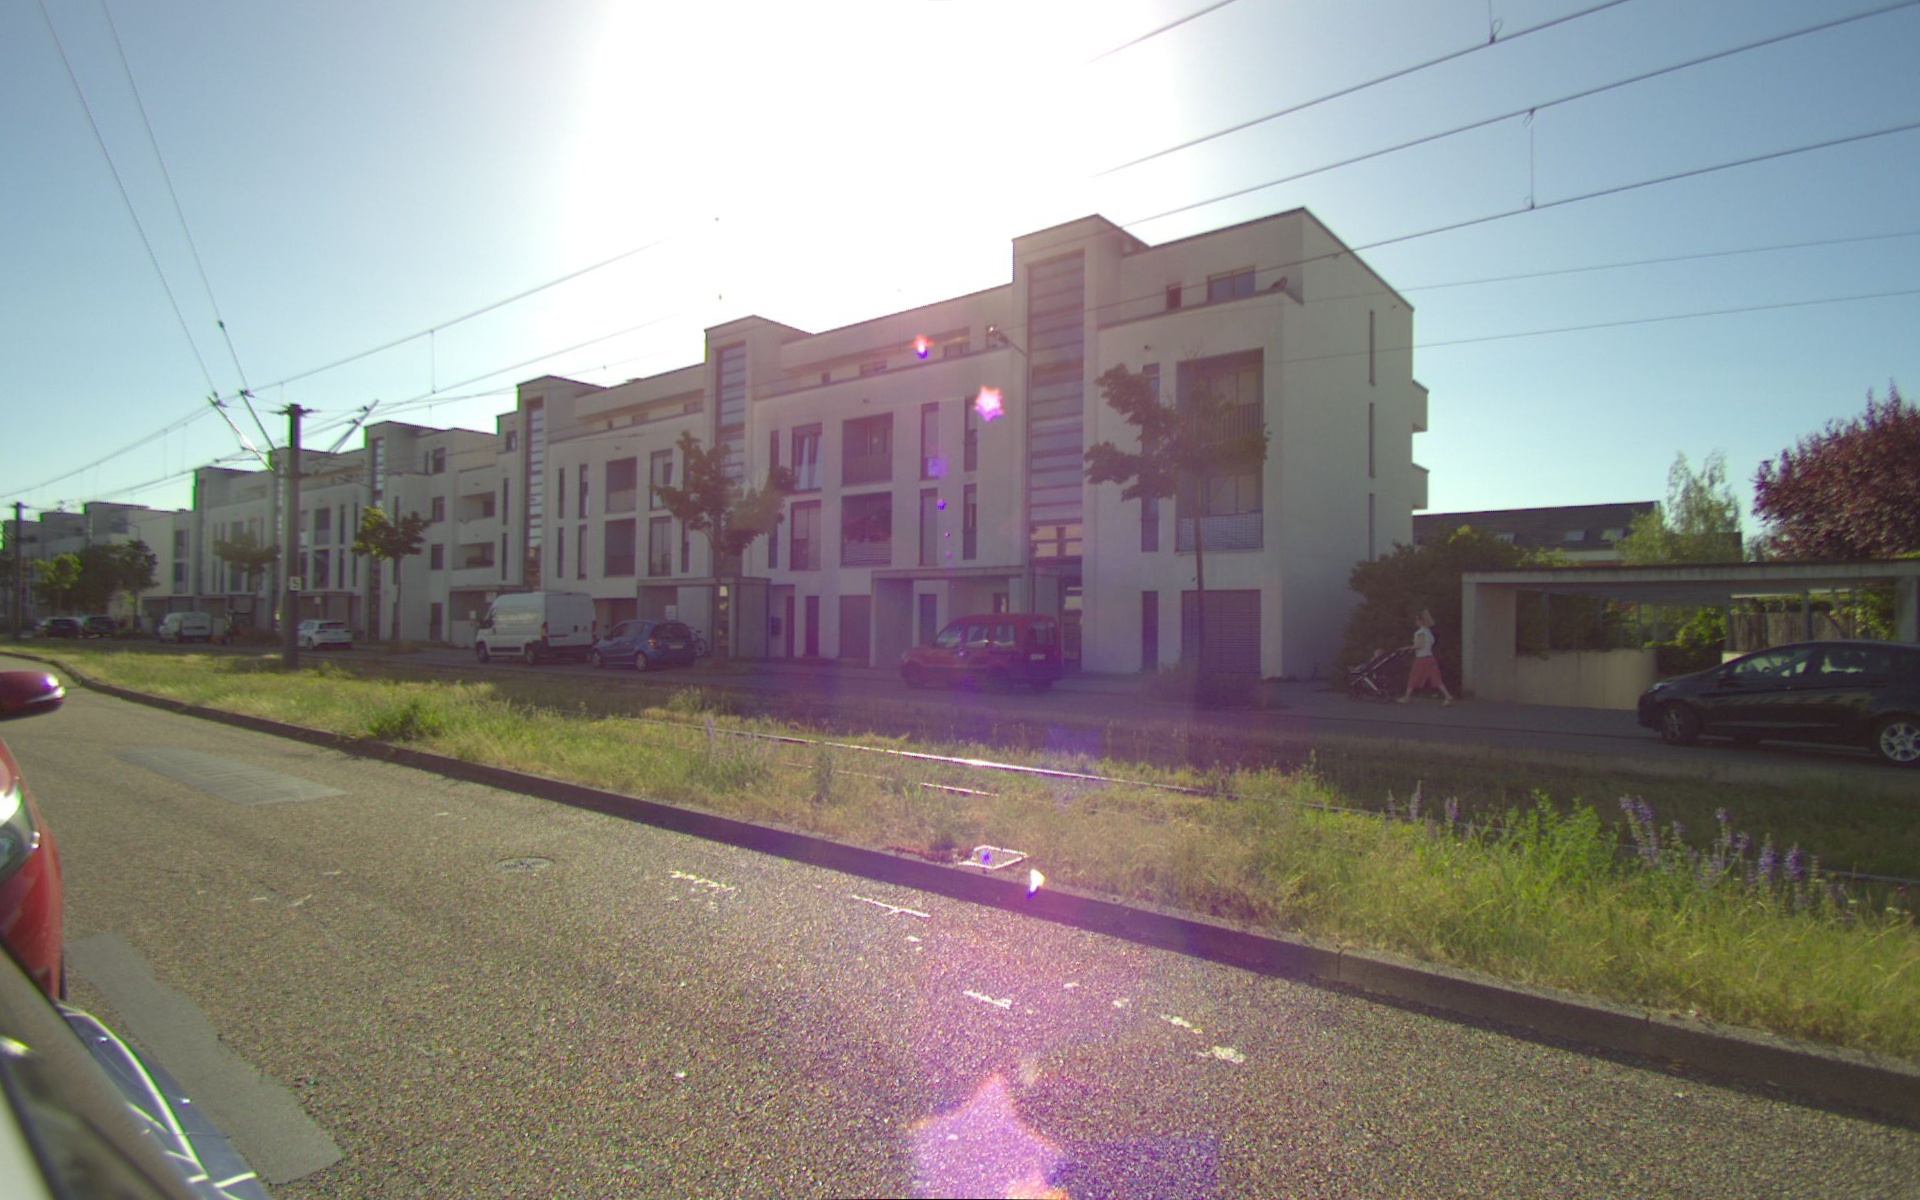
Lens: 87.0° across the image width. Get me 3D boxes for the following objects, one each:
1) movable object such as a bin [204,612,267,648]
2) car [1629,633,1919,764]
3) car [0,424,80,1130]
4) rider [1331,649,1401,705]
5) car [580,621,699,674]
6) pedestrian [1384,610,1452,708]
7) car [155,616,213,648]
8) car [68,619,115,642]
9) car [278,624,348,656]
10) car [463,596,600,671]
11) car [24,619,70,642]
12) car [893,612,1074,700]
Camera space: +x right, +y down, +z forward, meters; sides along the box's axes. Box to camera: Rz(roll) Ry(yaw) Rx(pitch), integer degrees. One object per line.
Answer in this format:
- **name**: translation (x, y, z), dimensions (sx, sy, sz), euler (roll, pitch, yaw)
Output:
- **movable object such as a bin**: translation (-41.273, 1.704, 57.598), dimensions (4.149, 1.952, 1.745), euler (-1, -1, 37)
- **car**: translation (10.802, 1.171, 12.621), dimensions (1.679, 1.442, 3.752), euler (3, -4, -25)
- **car**: translation (-5.126, 0.539, 3.920), dimensions (5.203, 1.948, 1.954), euler (-1, 0, 42)
- **rider**: translation (7.880, 1.475, 19.653), dimensions (0.769, 1.010, 1.046), euler (0, -1, -45)
- **car**: translation (-10.030, 1.440, 31.607), dimensions (3.840, 1.548, 1.805), euler (-1, -1, 41)
- **pedestrian**: translation (8.568, 1.080, 18.939), dimensions (0.910, 1.761, 0.806), euler (-2, -1, 45)
- **car**: translation (-47.257, 1.929, 61.623), dimensions (4.149, 1.884, 1.745), euler (-1, -1, 37)
- **car**: translation (-63.042, 2.225, 73.411), dimensions (4.149, 1.611, 1.745), euler (-1, -1, 37)
- **car**: translation (-31.285, 1.920, 48.929), dimensions (4.149, 1.443, 1.503), euler (-1, -1, 37)
- **car**: translation (-15.345, 1.153, 36.093), dimensions (5.583, 2.463, 2.119), euler (-1, -1, 39)
- **car**: translation (-59.402, 1.998, 65.834), dimensions (3.999, 1.429, 1.769), euler (-1, -4, 42)
- **car**: translation (0.477, 1.196, 23.015), dimensions (3.836, 1.809, 1.861), euler (-1, -1, 42)
